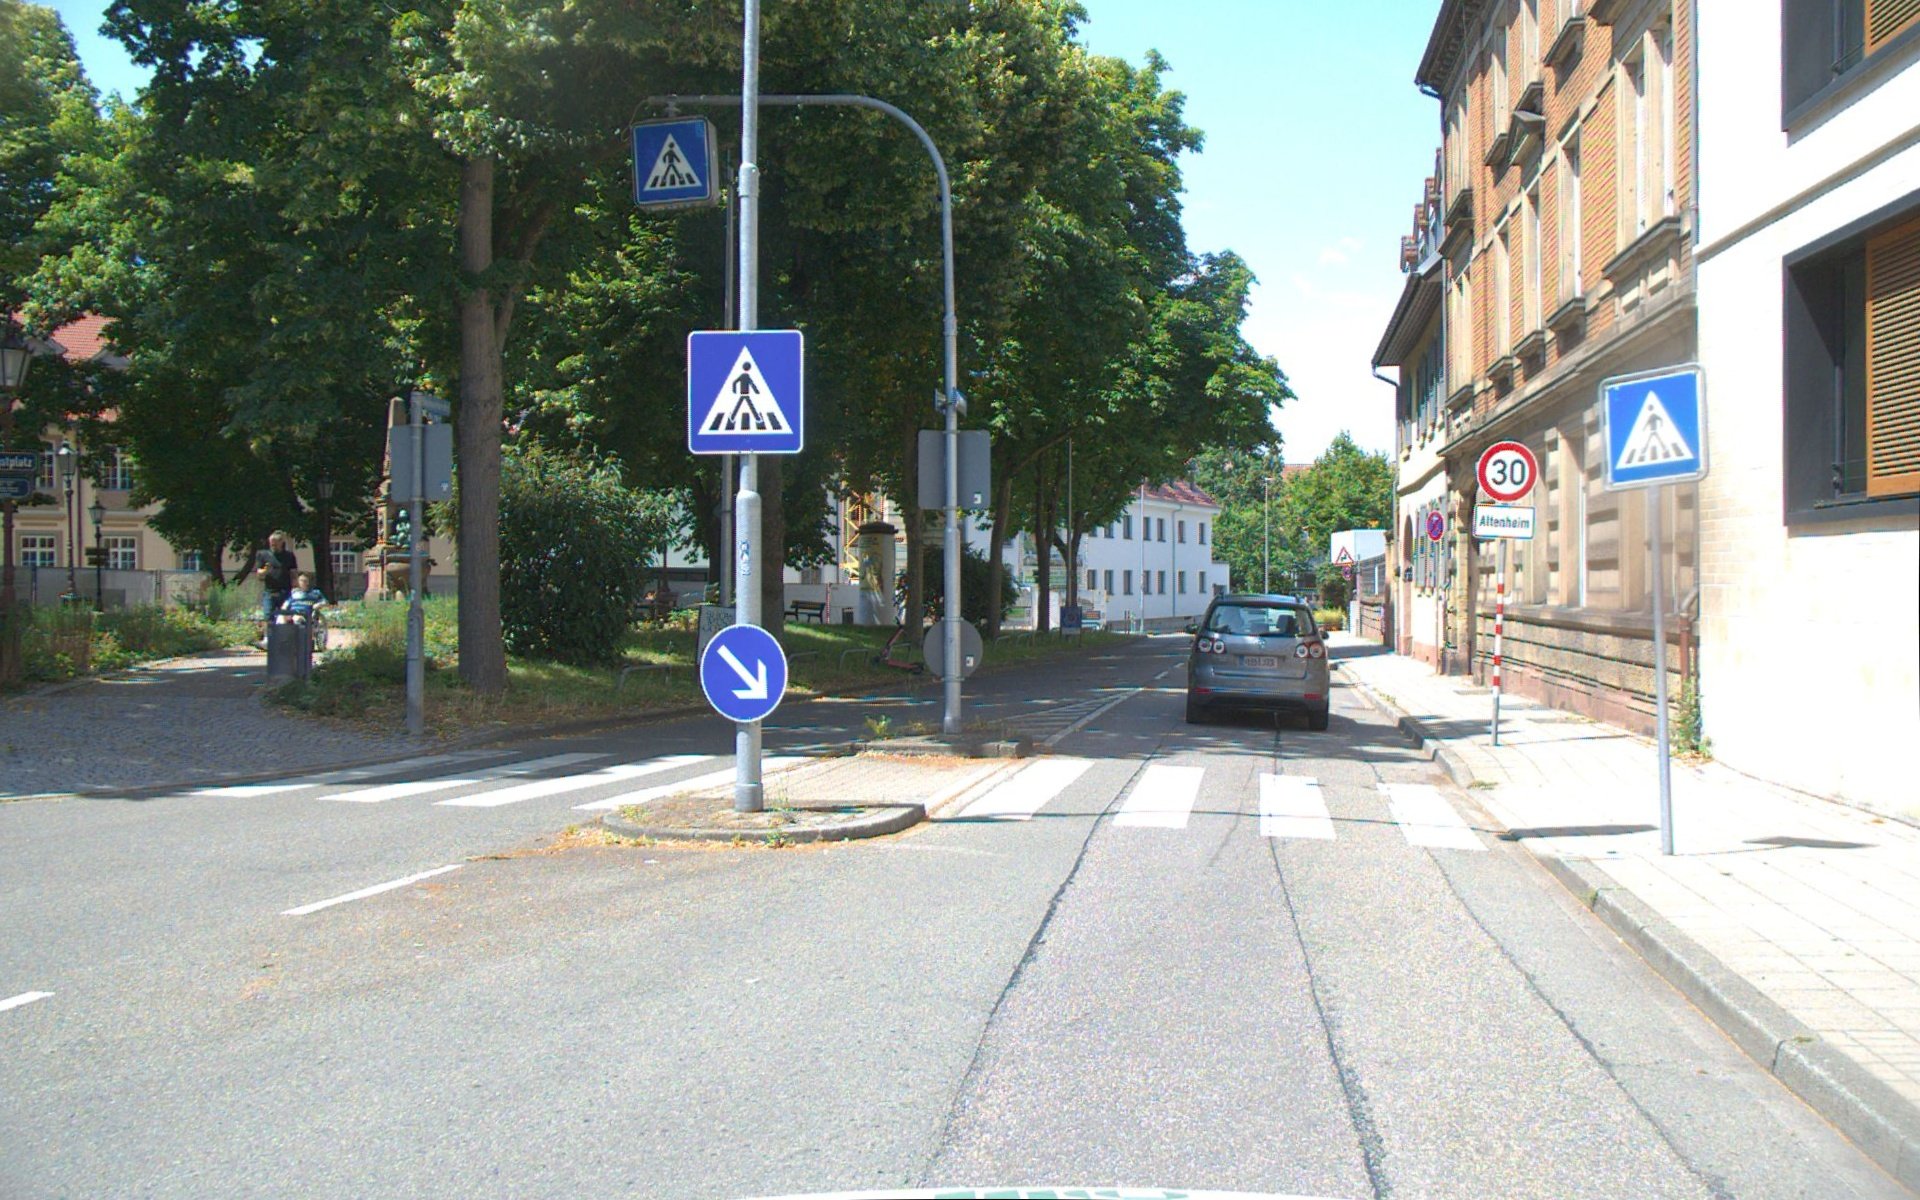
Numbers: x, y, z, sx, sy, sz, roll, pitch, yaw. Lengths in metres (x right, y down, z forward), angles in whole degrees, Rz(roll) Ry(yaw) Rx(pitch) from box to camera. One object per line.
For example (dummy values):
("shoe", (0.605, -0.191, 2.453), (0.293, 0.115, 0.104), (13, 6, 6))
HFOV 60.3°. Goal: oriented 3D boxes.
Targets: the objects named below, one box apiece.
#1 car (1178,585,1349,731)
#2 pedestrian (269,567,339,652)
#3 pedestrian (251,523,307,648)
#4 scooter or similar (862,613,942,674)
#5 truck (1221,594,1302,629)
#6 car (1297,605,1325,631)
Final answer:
("car", (3.842, 0.667, 21.191), (1.863, 1.560, 4.247), (3, 0, 9))
("pedestrian", (-10.181, 0.135, 25.713), (0.891, 1.273, 1.143), (0, 2, -16))
("pedestrian", (-10.802, -0.238, 26.250), (0.735, 1.944, 0.681), (0, 1, -16))
("scooter or similar", (-1.153, 0.869, 33.344), (1.246, 1.008, 1.453), (9, 1, 8))
("truck", (18.636, 0.705, 102.279), (4.692, 2.049, 2.147), (0, 0, 4))
("car", (22.526, 1.164, 106.265), (1.612, 1.601, 3.642), (1, 0, 11))
